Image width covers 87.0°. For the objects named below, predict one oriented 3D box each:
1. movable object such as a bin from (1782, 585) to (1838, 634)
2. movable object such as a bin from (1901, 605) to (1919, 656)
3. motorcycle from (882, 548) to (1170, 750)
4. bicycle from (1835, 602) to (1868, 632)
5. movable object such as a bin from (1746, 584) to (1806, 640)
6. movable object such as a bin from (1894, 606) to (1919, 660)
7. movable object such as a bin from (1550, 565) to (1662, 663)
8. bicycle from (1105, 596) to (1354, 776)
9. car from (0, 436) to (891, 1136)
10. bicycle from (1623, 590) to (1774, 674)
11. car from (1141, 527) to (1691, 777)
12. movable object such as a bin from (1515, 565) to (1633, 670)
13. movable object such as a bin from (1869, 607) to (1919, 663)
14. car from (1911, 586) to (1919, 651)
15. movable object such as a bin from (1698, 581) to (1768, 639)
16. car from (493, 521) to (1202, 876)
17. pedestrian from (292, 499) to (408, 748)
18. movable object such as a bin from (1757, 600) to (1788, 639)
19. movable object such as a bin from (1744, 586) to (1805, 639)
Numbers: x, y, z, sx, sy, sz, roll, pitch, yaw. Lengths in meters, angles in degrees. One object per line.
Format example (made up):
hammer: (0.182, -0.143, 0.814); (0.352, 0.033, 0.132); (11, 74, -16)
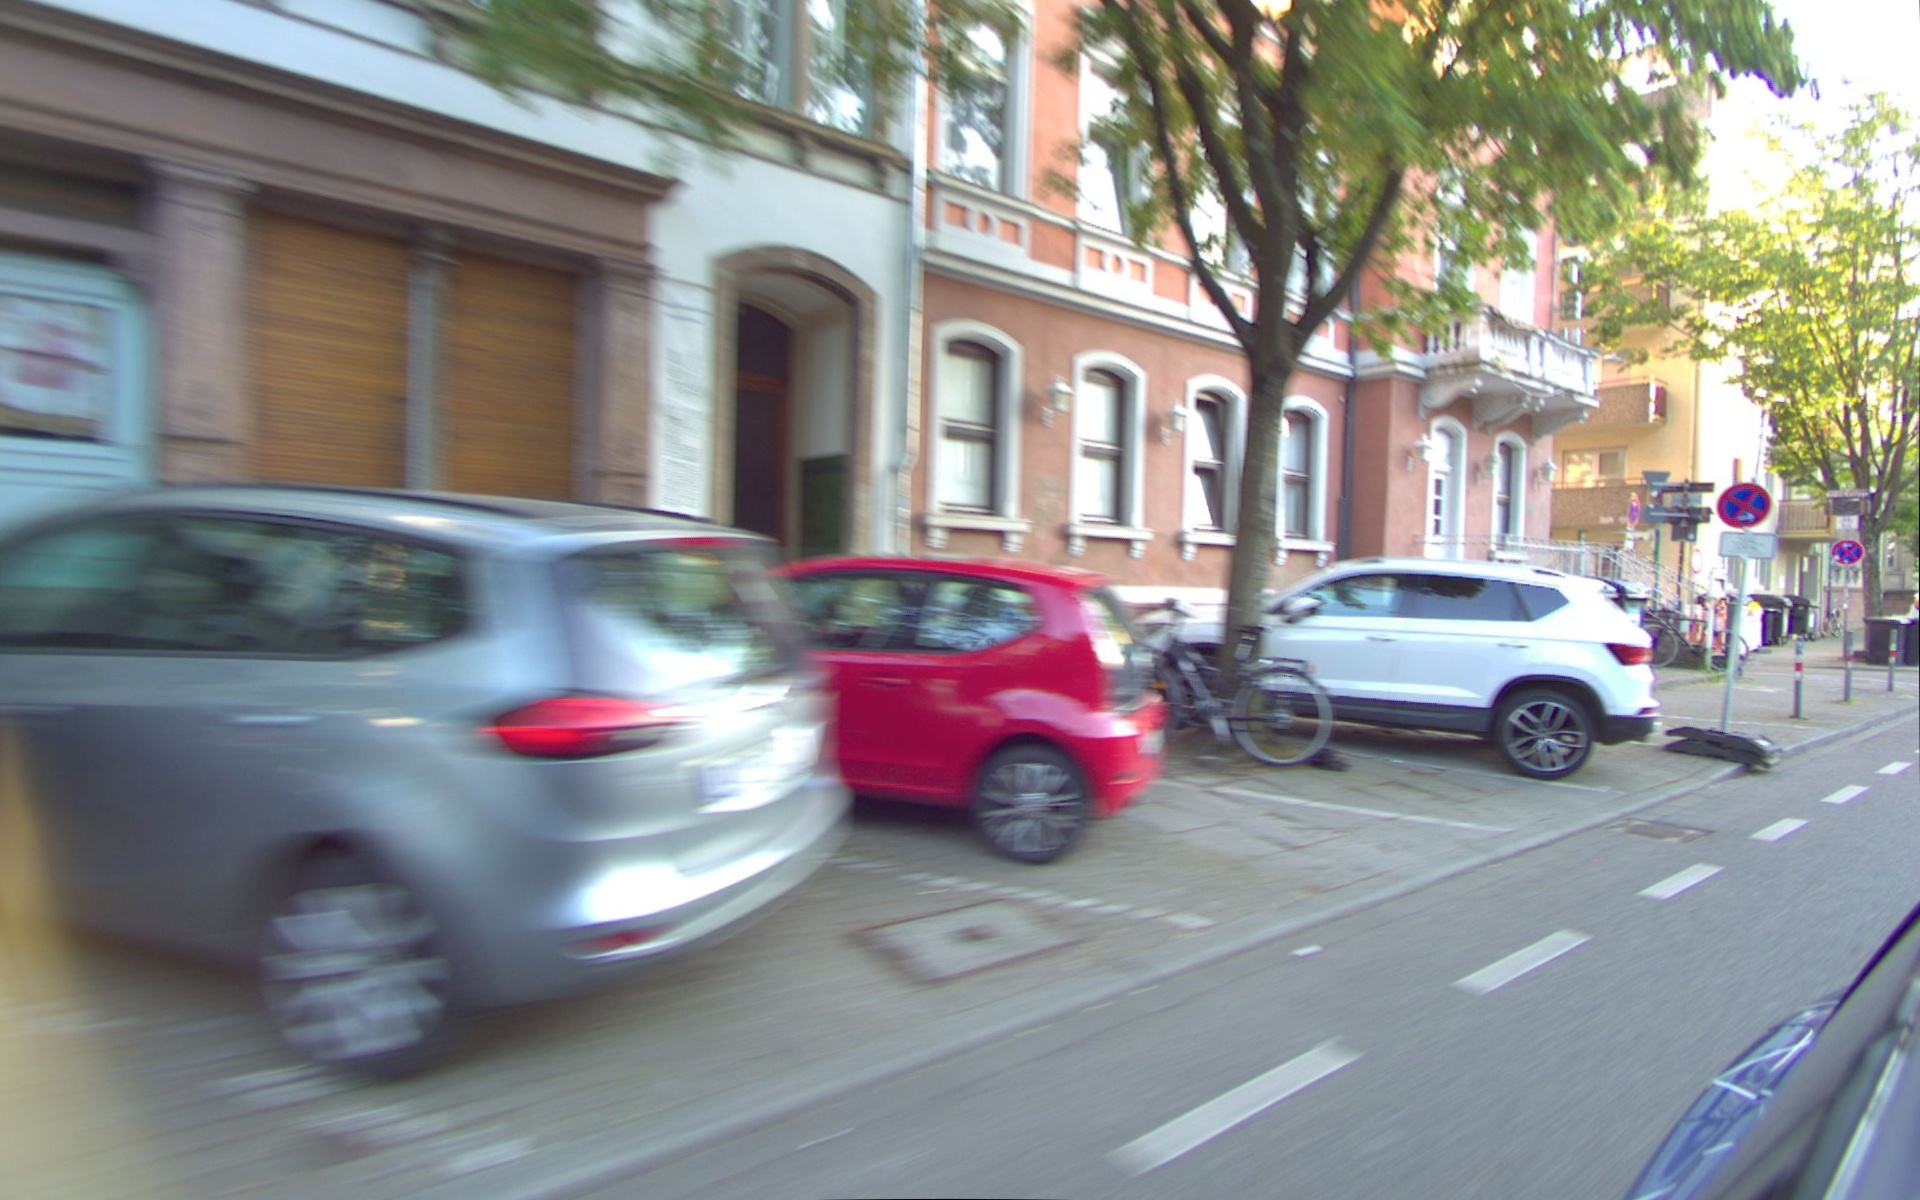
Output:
movable object such as a bin: (27.435, 0.300, 32.659); (1.455, 1.520, 1.116); (0, 1, -39)
movable object such as a bin: (22.362, 0.705, 23.359); (0.612, 1.168, 0.715); (1, 1, 5)
motorcycle: (0.513, 0.334, 7.918); (2.035, 1.409, 0.878); (1, 3, -24)
bicycle: (32.846, 0.616, 37.298); (1.528, 1.088, 0.652); (0, 1, -39)
movable object such as a bin: (23.026, 0.318, 28.540); (1.295, 1.520, 1.074); (0, 1, -40)
movable object such as a bin: (21.243, 0.733, 22.365); (0.576, 1.168, 0.716); (1, 0, -26)
movable object such as a bin: (10.548, 0.208, 16.523); (1.373, 1.520, 1.143); (1, 1, -39)
bicycle: (1.964, 0.583, 7.489); (1.655, 1.088, 0.459); (5, 3, 29)
car: (-2.456, 0.309, 3.988); (3.904, 1.688, 1.891); (4, 4, 18)
bicycle: (12.216, 0.508, 16.800); (1.893, 1.282, 0.598); (2, 1, 18)
car: (3.727, 0.312, 8.845); (3.909, 1.646, 1.662); (4, 2, 22)
movable object such as a bin: (9.469, 0.244, 15.615); (1.373, 1.520, 1.143); (1, 1, -39)
movable object such as a bin: (20.601, 0.751, 22.200); (0.576, 1.168, 0.797); (1, 1, -26)
car: (25.019, 0.496, 24.845); (3.621, 1.554, 1.571); (0, 3, -34)
movable object such as a bin: (21.111, 0.262, 27.638); (1.569, 1.520, 1.143); (0, 1, -39)
car: (-0.629, 0.392, 6.226); (3.906, 1.495, 1.819); (4, 2, 20)
pedestrian: (-4.245, 0.145, 7.041); (0.613, 1.629, 0.588); (1, 1, -38)
movable object such as a bin: (22.365, 0.530, 27.863); (0.561, 1.060, 0.555); (1, 1, -39)
movable object such as a bin: (24.050, 0.354, 29.898); (1.247, 1.520, 1.143); (1, 1, -39)
